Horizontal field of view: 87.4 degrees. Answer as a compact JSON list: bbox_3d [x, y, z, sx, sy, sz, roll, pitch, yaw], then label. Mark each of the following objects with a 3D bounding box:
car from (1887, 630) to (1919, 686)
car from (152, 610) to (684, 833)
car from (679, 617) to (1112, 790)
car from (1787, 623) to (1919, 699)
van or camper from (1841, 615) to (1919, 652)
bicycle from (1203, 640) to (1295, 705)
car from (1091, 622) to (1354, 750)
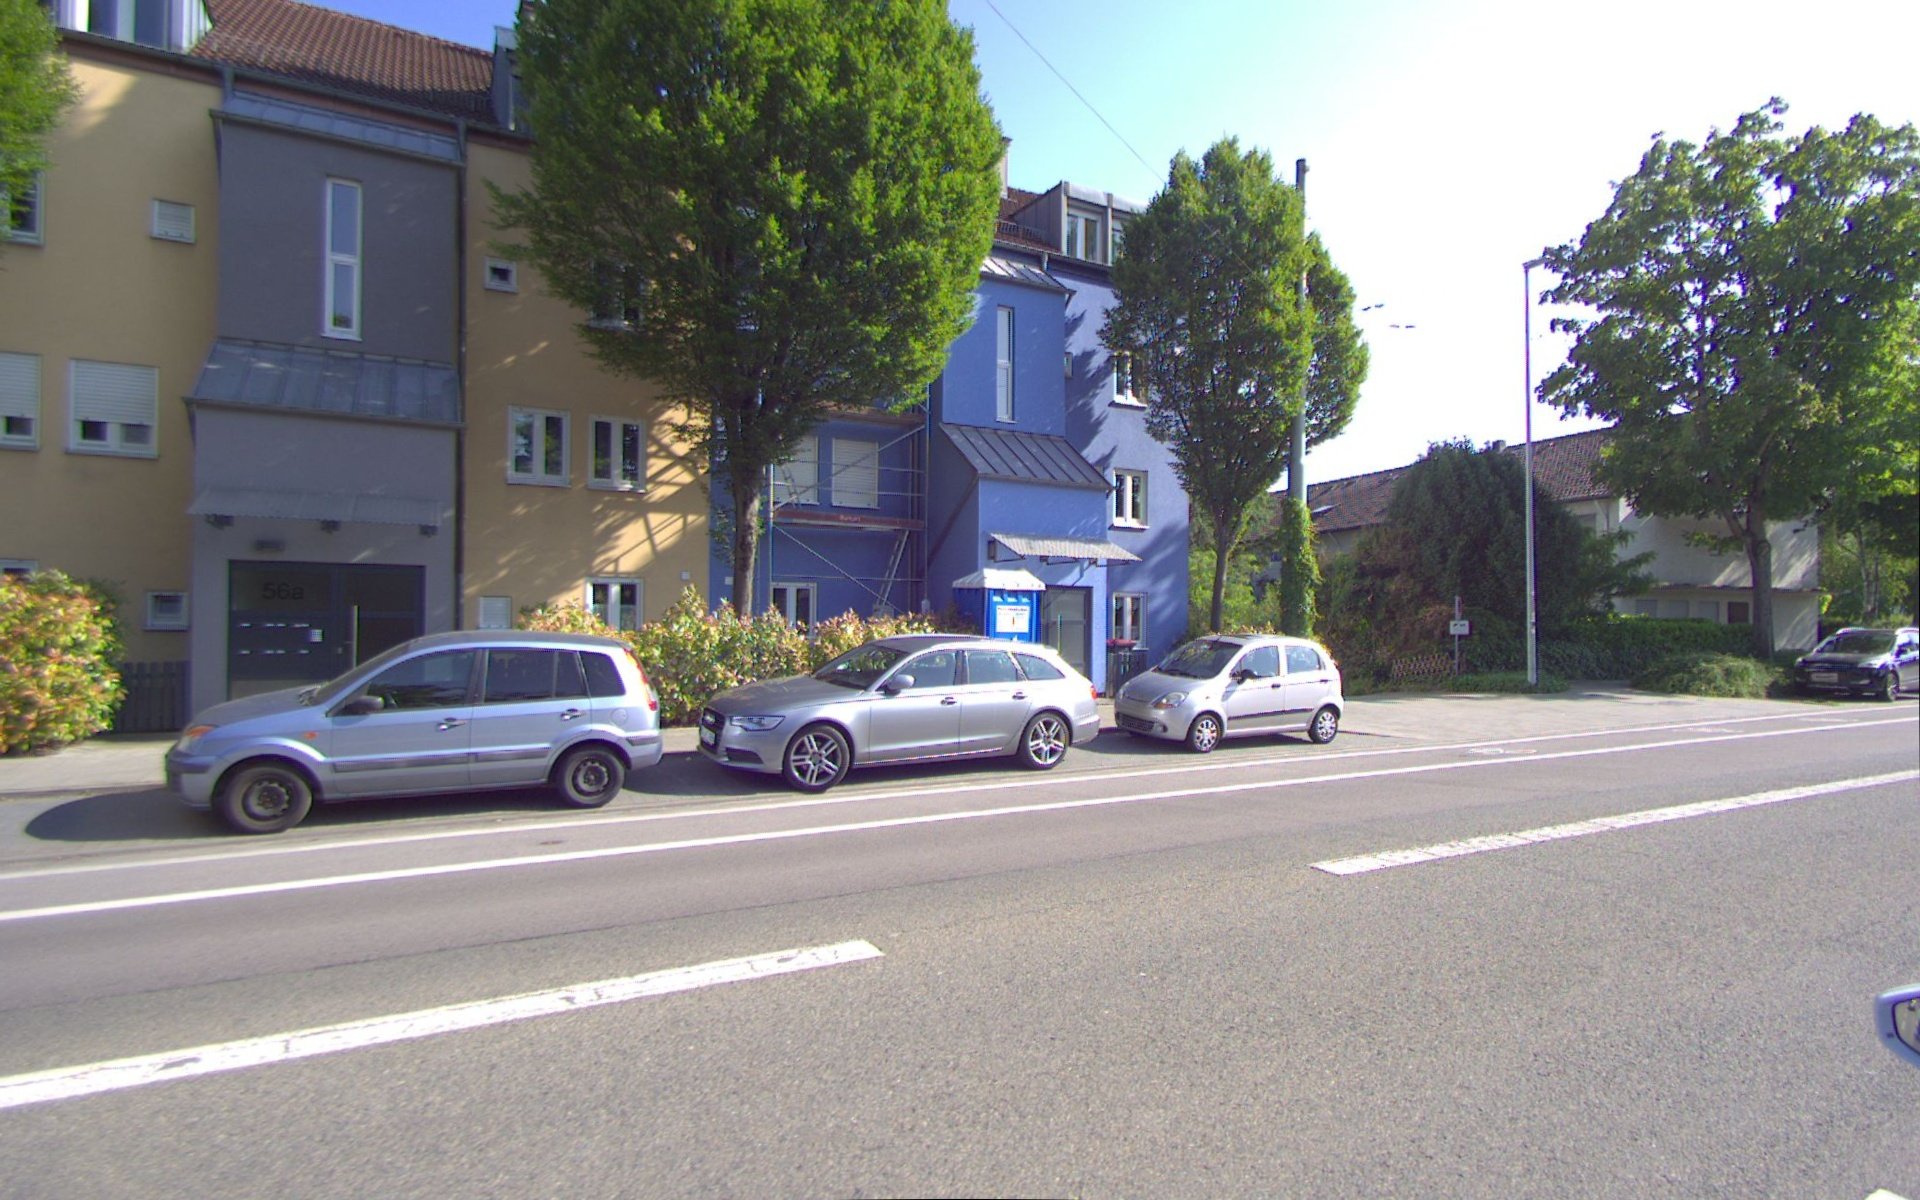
[{"bbox_3d":[27.264,1.586,27.563,3.923,1.488,1.668,1,-1,-31],"label":"car"},{"bbox_3d":[-4.743,0.964,9.254,3.932,1.560,1.755,1,3,-29],"label":"car"},{"bbox_3d":[-0.643,1.047,11.582,4.702,1.531,1.739,1,3,-32],"label":"car"},{"bbox_3d":[22.383,1.446,24.689,4.368,1.716,1.705,1,-1,-29],"label":"car"},{"bbox_3d":[77.060,2.731,82.692,2.278,2.906,6.440,1,-1,-27],"label":"van or camper"},{"bbox_3d":[5.427,1.353,18.833,1.759,1.169,0.442,2,-2,-23],"label":"bicycle"},{"bbox_3d":[3.769,1.146,14.360,3.467,1.515,1.593,1,3,-30],"label":"car"}]
